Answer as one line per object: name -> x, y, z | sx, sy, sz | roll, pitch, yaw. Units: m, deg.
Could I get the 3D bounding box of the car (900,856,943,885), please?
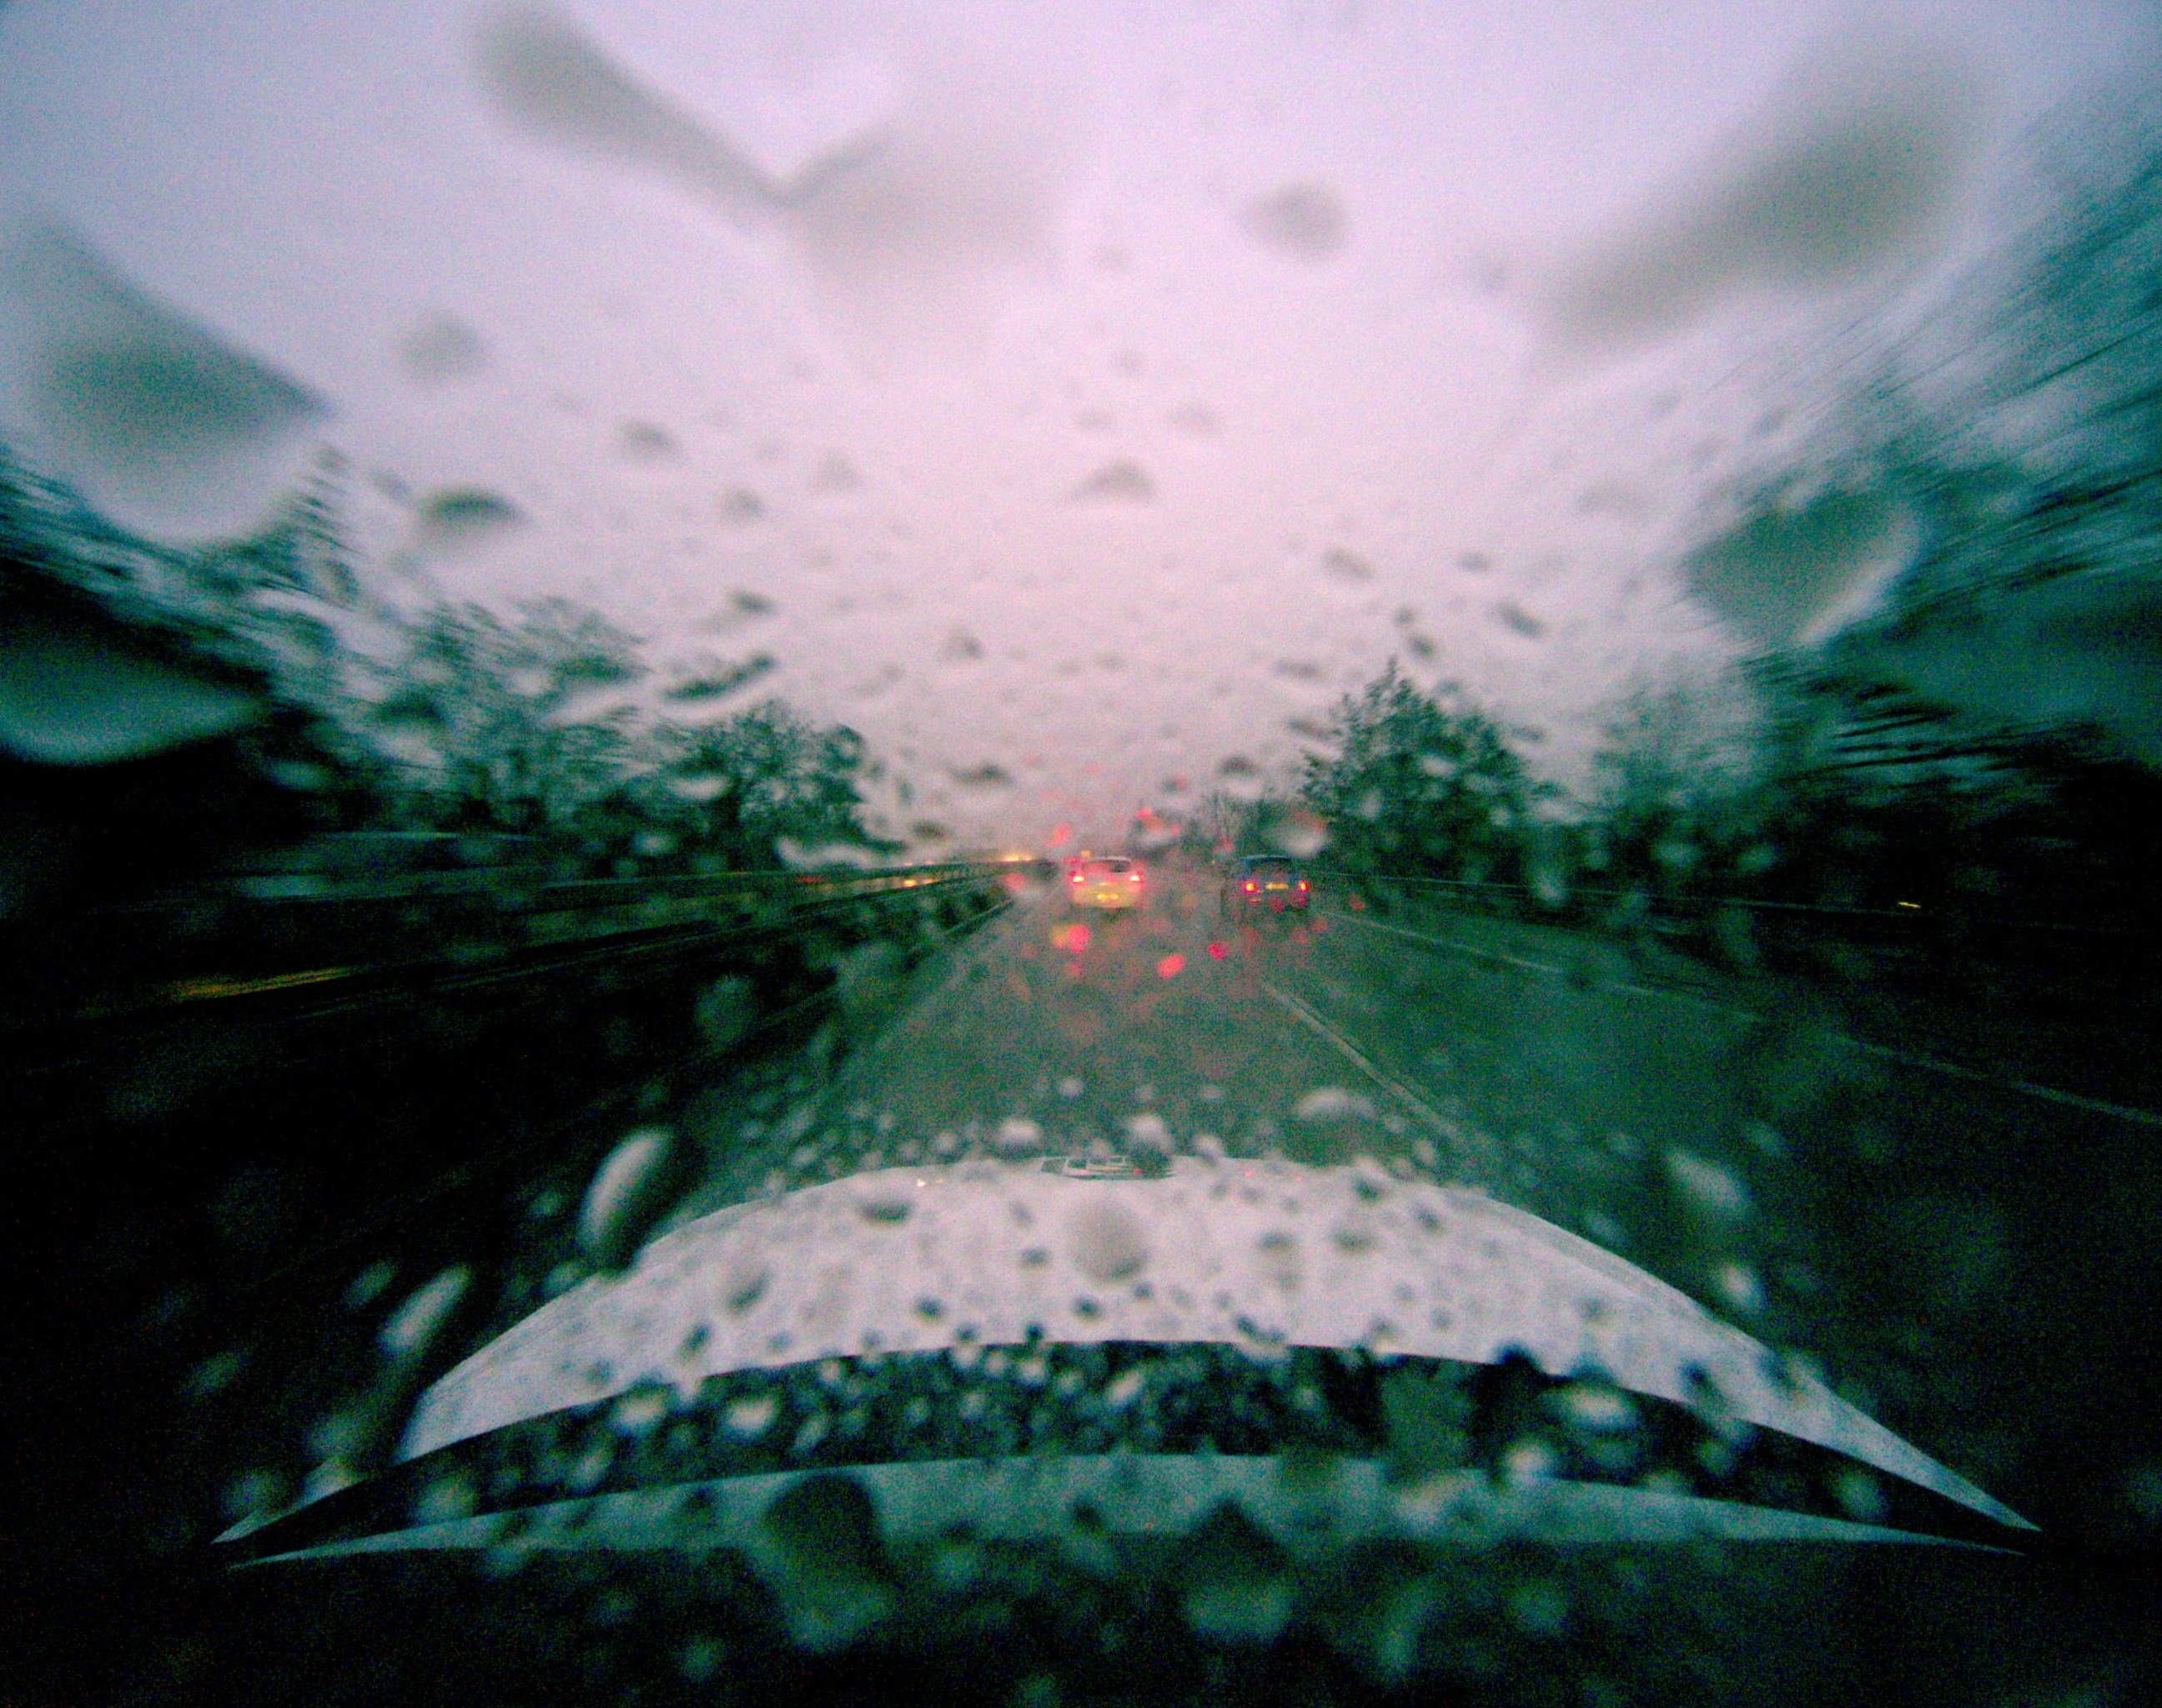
car -> -10.504, 1.119, 53.909 | 1.737, 1.833, 4.139 | -1, -1, 4

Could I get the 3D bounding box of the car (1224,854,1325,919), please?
car -> 4.778, 0.735, 20.658 | 1.837, 1.453, 4.153 | 0, 0, 4

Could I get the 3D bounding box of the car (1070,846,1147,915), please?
car -> 0.786, 0.634, 21.387 | 1.837, 1.636, 3.771 | 0, 0, 4

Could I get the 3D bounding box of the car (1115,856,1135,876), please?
car -> 4.617, 1.314, 86.251 | 1.866, 1.904, 4.002 | 5, -1, 2

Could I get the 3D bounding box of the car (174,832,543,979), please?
car -> -11.218, 0.722, 13.242 | 1.929, 1.973, 4.535 | 0, -1, -1
